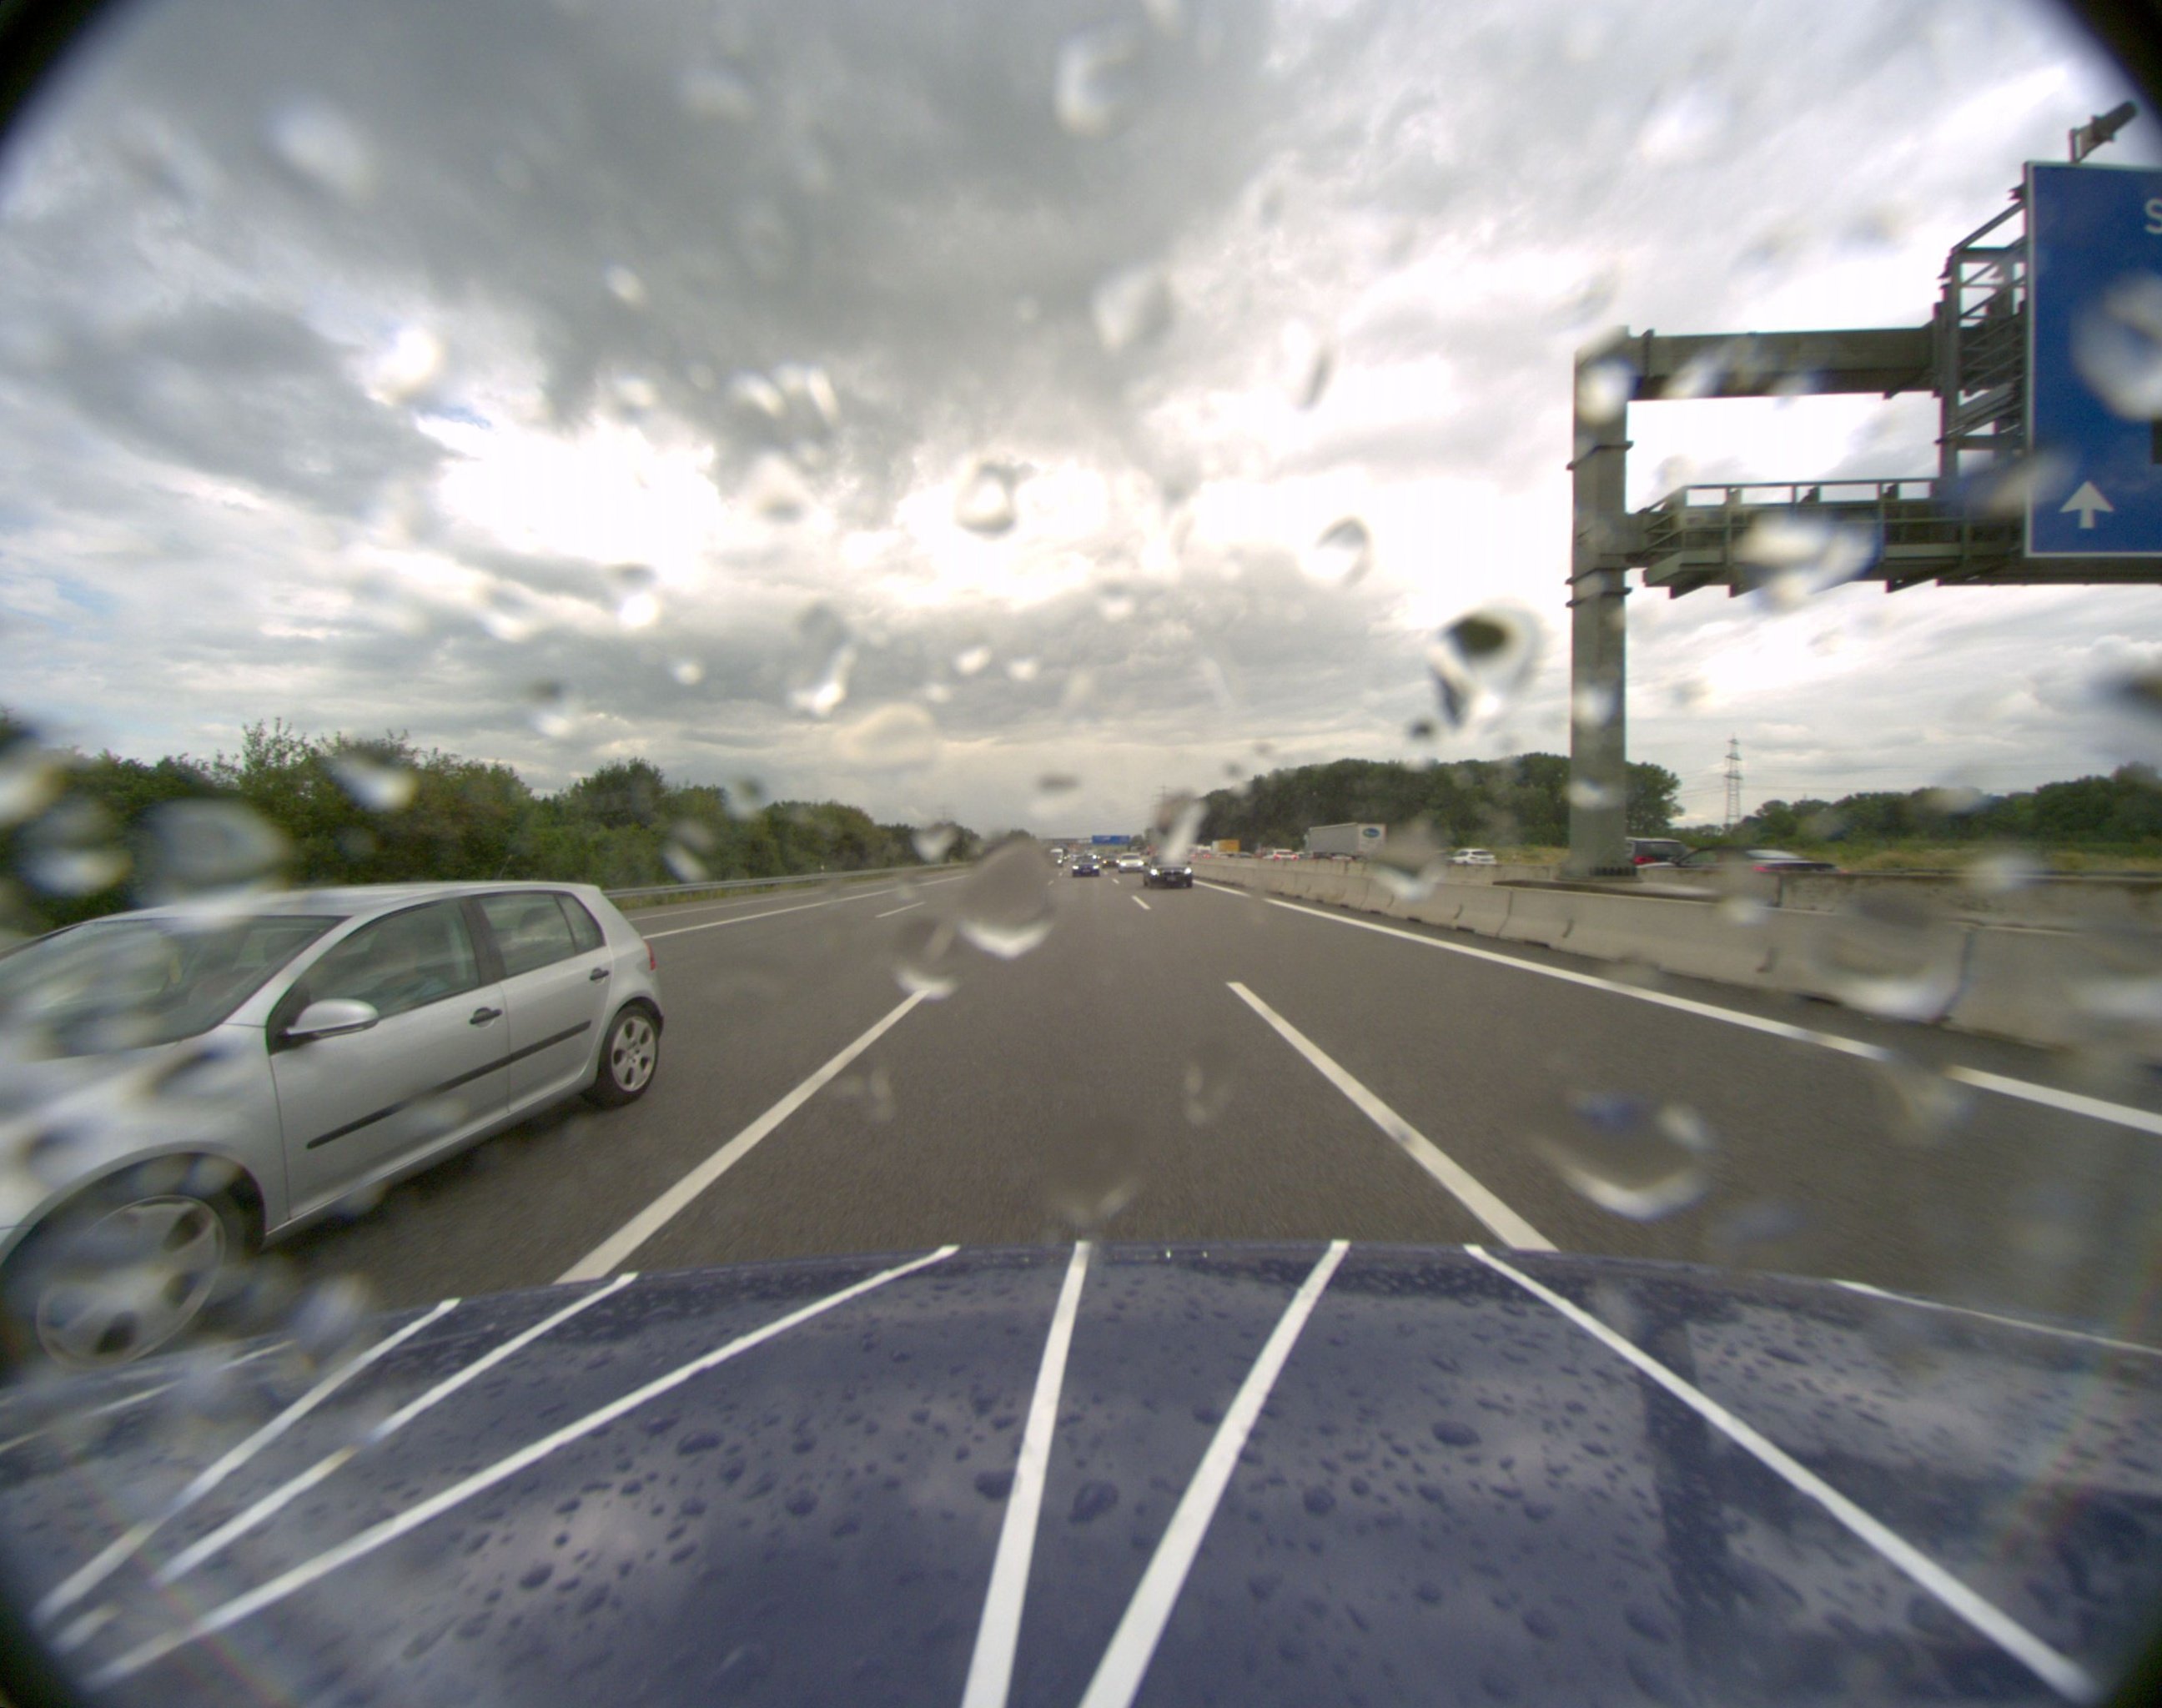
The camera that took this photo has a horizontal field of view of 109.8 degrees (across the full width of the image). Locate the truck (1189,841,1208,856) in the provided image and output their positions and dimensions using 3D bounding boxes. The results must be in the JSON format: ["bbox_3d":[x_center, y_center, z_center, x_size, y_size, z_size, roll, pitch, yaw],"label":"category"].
[{"bbox_3d":[26.820,-1.246,173.596,2.917,3.271,9.201,-1,0,0],"label":"truck"}]

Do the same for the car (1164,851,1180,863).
[{"bbox_3d":[14.274,0.497,118.991,1.998,1.739,4.000,-1,0,0],"label":"car"}]

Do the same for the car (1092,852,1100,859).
[{"bbox_3d":[4.233,0.372,216.079,1.998,2.002,4.751,-2,0,1],"label":"car"}]

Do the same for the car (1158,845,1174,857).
[{"bbox_3d":[14.326,-0.467,128.121,1.999,2.002,5.757,-1,0,-1],"label":"car"}]

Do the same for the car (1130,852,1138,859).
[{"bbox_3d":[14.271,0.457,204.689,1.999,1.955,4.696,-1,0,0],"label":"car"}]

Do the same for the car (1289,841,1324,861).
[{"bbox_3d":[22.056,-0.256,74.398,1.998,1.862,4.760,-1,0,1],"label":"car"}]

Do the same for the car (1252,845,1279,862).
[{"bbox_3d":[22.248,-0.059,91.777,1.998,1.862,5.392,-1,0,1],"label":"car"}]

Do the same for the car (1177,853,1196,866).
[{"bbox_3d":[14.916,0.758,107.251,1.998,1.771,4.672,-1,0,0],"label":"car"}]

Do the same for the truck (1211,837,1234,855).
[{"bbox_3d":[29.408,-1.546,158.378,2.885,3.591,10.311,-1,0,1],"label":"truck"}]

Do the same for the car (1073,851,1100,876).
[{"bbox_3d":[0.409,0.615,51.722,1.711,1.562,4.346,-1,0,1],"label":"car"}]

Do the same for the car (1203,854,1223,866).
[{"bbox_3d":[18.833,0.812,108.484,1.998,1.704,4.699,-1,0,0],"label":"car"}]

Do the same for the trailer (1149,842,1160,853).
[{"bbox_3d":[25.424,-2.158,264.857,2.867,3.740,9.160,-1,0,0],"label":"trailer"}]

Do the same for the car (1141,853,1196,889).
[{"bbox_3d":[3.642,0.677,32.234,1.923,1.407,4.000,-1,0,1],"label":"car"}]

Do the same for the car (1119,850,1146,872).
[{"bbox_3d":[3.944,0.513,58.238,1.822,1.565,4.000,-1,0,1],"label":"car"}]

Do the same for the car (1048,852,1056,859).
[{"bbox_3d":[-7.628,0.395,201.441,1.999,2.002,4.354,-1,0,-1],"label":"car"}]

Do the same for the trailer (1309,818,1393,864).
[{"bbox_3d":[26.111,-1.138,74.498,3.247,4.005,13.807,-1,0,0],"label":"trailer"}]

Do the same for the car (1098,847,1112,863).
[{"bbox_3d":[3.857,0.186,122.357,2.145,2.486,5.448,-1,0,1],"label":"car"}]

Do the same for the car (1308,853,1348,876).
[{"bbox_3d":[21.627,0.890,66.727,1.998,1.862,4.760,-1,0,1],"label":"car"}]

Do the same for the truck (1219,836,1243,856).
[{"bbox_3d":[29.280,-1.548,149.117,2.885,3.591,9.580,-1,0,1],"label":"truck"}]

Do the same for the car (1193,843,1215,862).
[{"bbox_3d":[22.140,-0.305,136.761,2.667,3.258,6.561,-1,0,-1],"label":"car"}]

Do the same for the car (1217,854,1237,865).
[{"bbox_3d":[22.330,0.838,116.400,1.998,1.704,4.699,-1,0,0],"label":"car"}]

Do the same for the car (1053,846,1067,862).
[{"bbox_3d":[-3.397,-0.056,123.949,2.145,2.486,5.447,-1,0,0],"label":"car"}]

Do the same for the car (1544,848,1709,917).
[{"bbox_3d":[17.651,0.848,24.933,1.998,2.002,4.760,-1,0,1],"label":"car"}]

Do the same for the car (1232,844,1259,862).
[{"bbox_3d":[18.528,-0.092,85.880,1.998,1.862,4.760,-1,0,1],"label":"car"}]

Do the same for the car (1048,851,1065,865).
[{"bbox_3d":[-2.943,0.457,90.223,1.945,1.482,4.774,-1,0,-2],"label":"car"}]

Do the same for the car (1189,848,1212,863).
[{"bbox_3d":[14.657,0.218,93.150,1.998,1.704,4.871,-1,0,0],"label":"car"}]

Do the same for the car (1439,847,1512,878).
[{"bbox_3d":[26.404,0.523,51.102,2.437,1.941,4.828,-1,0,1],"label":"car"}]

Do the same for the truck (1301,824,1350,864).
[{"bbox_3d":[26.129,-1.003,81.601,3.229,4.034,6.232,-1,0,0],"label":"truck"}]

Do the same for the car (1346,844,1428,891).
[{"bbox_3d":[14.338,0.598,35.914,1.998,2.002,4.760,-1,0,1],"label":"car"}]

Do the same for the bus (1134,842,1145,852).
[{"bbox_3d":[20.441,-2.358,267.578,2.694,3.365,13.997,-1,0,0],"label":"bus"}]

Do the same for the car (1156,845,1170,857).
[{"bbox_3d":[14.681,-0.515,136.417,1.999,2.002,4.424,-1,0,0],"label":"car"}]

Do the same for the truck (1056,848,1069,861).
[{"bbox_3d":[-4.000,0.063,163.871,2.392,2.726,6.592,-1,0,-3],"label":"truck"}]

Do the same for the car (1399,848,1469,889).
[{"bbox_3d":[18.660,0.734,40.387,1.888,2.002,4.000,-1,0,1],"label":"car"}]

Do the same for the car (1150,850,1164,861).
[{"bbox_3d":[14.557,0.233,145.681,1.999,2.002,4.686,-1,0,0],"label":"car"}]

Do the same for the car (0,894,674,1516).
[{"bbox_3d":[-3.777,1.037,3.326,1.800,1.468,4.037,-1,0,0],"label":"car"}]

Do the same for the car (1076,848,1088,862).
[{"bbox_3d":[0.181,0.253,142.514,2.145,2.486,5.448,-1,0,0],"label":"car"}]

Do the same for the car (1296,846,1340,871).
[{"bbox_3d":[18.456,0.348,59.365,1.998,1.862,4.760,-1,0,1],"label":"car"}]

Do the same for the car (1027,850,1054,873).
[{"bbox_3d":[-3.000,0.530,57.101,1.711,1.621,4.457,-1,0,1],"label":"car"}]

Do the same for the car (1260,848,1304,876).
[{"bbox_3d":[14.376,0.551,54.525,1.998,1.880,4.362,-1,0,0],"label":"car"}]

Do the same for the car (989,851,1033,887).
[{"bbox_3d":[-3.364,0.711,37.158,1.785,1.603,4.597,-1,0,-1],"label":"car"}]

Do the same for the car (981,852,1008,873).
[{"bbox_3d":[-7.264,0.693,64.064,1.815,1.589,4.695,-1,0,-1],"label":"car"}]

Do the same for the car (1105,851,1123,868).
[{"bbox_3d":[3.333,0.511,77.394,1.711,1.621,4.000,-1,0,1],"label":"car"}]

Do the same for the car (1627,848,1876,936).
[{"bbox_3d":[13.786,0.705,15.990,1.733,1.586,4.000,-1,0,1],"label":"car"}]

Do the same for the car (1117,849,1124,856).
[{"bbox_3d":[13.273,-0.490,252.948,1.999,1.955,4.696,-1,0,0],"label":"car"}]
